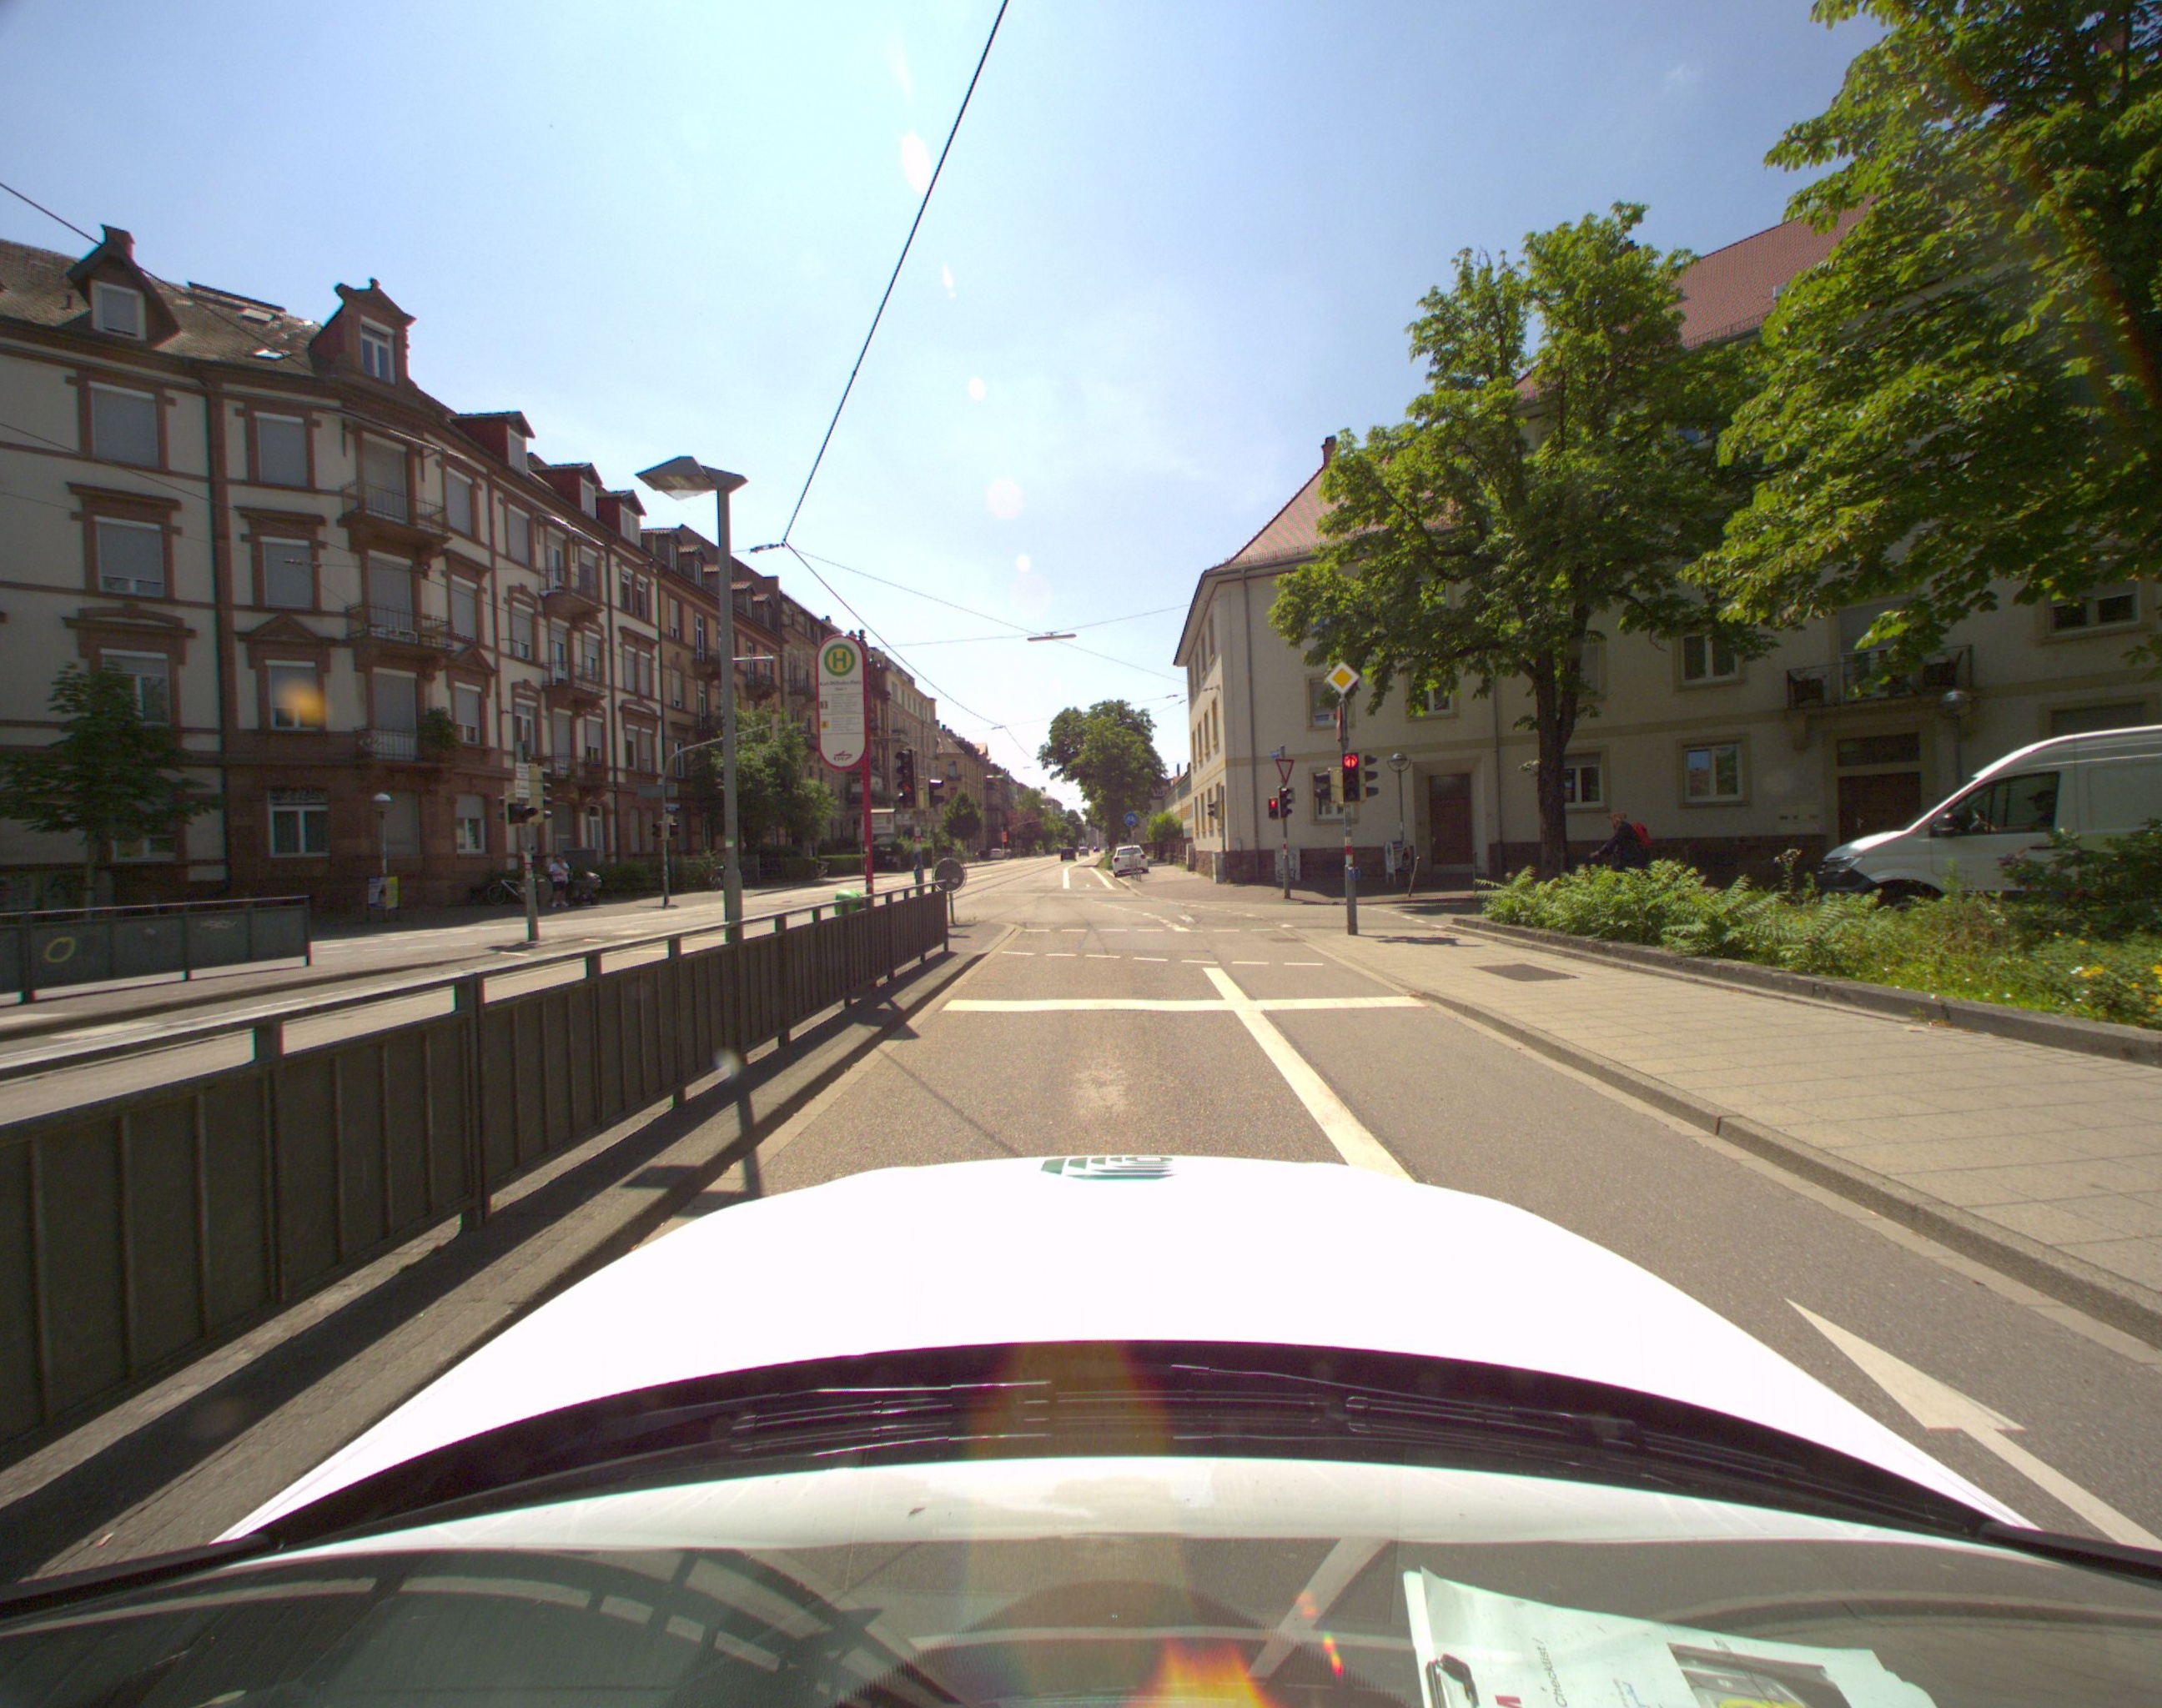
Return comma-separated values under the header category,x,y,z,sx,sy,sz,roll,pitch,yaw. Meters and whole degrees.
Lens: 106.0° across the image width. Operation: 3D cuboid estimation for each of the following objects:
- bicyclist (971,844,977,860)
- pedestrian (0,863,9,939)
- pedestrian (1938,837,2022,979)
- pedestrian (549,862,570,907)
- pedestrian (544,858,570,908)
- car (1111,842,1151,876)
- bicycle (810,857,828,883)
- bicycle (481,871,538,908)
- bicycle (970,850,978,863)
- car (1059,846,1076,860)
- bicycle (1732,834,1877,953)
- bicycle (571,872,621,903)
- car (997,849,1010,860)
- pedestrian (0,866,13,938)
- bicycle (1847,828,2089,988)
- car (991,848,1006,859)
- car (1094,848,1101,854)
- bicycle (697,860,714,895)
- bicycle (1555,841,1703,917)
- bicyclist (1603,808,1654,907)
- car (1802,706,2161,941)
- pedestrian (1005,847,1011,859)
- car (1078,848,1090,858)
category,x,y,z,sx,sy,sz,roll,pitch,yaw
bicyclist,-12.041,-0.229,91.474,0.540,1.763,0.498,-1,0,1
pedestrian,-26.218,1.139,19.394,0.565,1.825,0.631,-1,0,-20
pedestrian,8.409,0.494,7.626,0.365,1.284,0.350,-1,0,1
pedestrian,-17.751,1.025,27.733,0.510,1.516,0.464,-1,0,-41
pedestrian,-17.377,0.943,27.013,0.657,1.614,0.464,-1,2,-41
car,2.479,0.238,41.137,1.741,1.472,3.939,-5,0,1
bicycle,-14.408,0.856,44.750,0.594,1.356,2.420,-1,0,-25
bicycle,-19.382,1.193,27.624,1.522,1.169,0.362,-1,1,-26
bicycle,-12.027,0.247,91.588,0.575,1.388,2.502,-1,0,1
car,-1.443,-0.143,88.911,1.519,1.444,3.366,-3,0,2
bicycle,7.406,0.392,8.401,0.331,1.127,1.287,-1,-1,1
bicycle,-16.630,1.143,27.940,1.410,1.013,0.384,1,-2,-39
car,-12.233,0.104,128.310,1.623,1.472,3.563,-5,0,-1
pedestrian,-26.959,1.188,20.093,0.508,1.768,0.525,-1,0,-20
bicycle,8.407,0.459,7.847,0.351,1.360,1.835,-1,0,2
car,-12.188,-0.116,119.923,1.679,1.472,3.937,-5,0,-1
car,4.590,-0.793,222.718,1.623,1.472,3.563,-5,0,-1
bicycle,-16.028,0.984,34.781,0.617,1.395,2.289,-1,0,-25
bicycle,9.428,0.429,14.088,2.060,1.236,0.584,-1,0,35
bicyclist,9.455,0.059,14.055,0.687,1.646,0.584,-1,0,35
car,12.639,-0.356,9.689,2.010,2.590,5.784,-1,0,-38
pedestrian,-10.510,-0.176,116.981,0.675,1.727,0.677,-1,0,1
car,0.469,-0.225,133.512,1.741,1.472,3.939,-5,0,1
